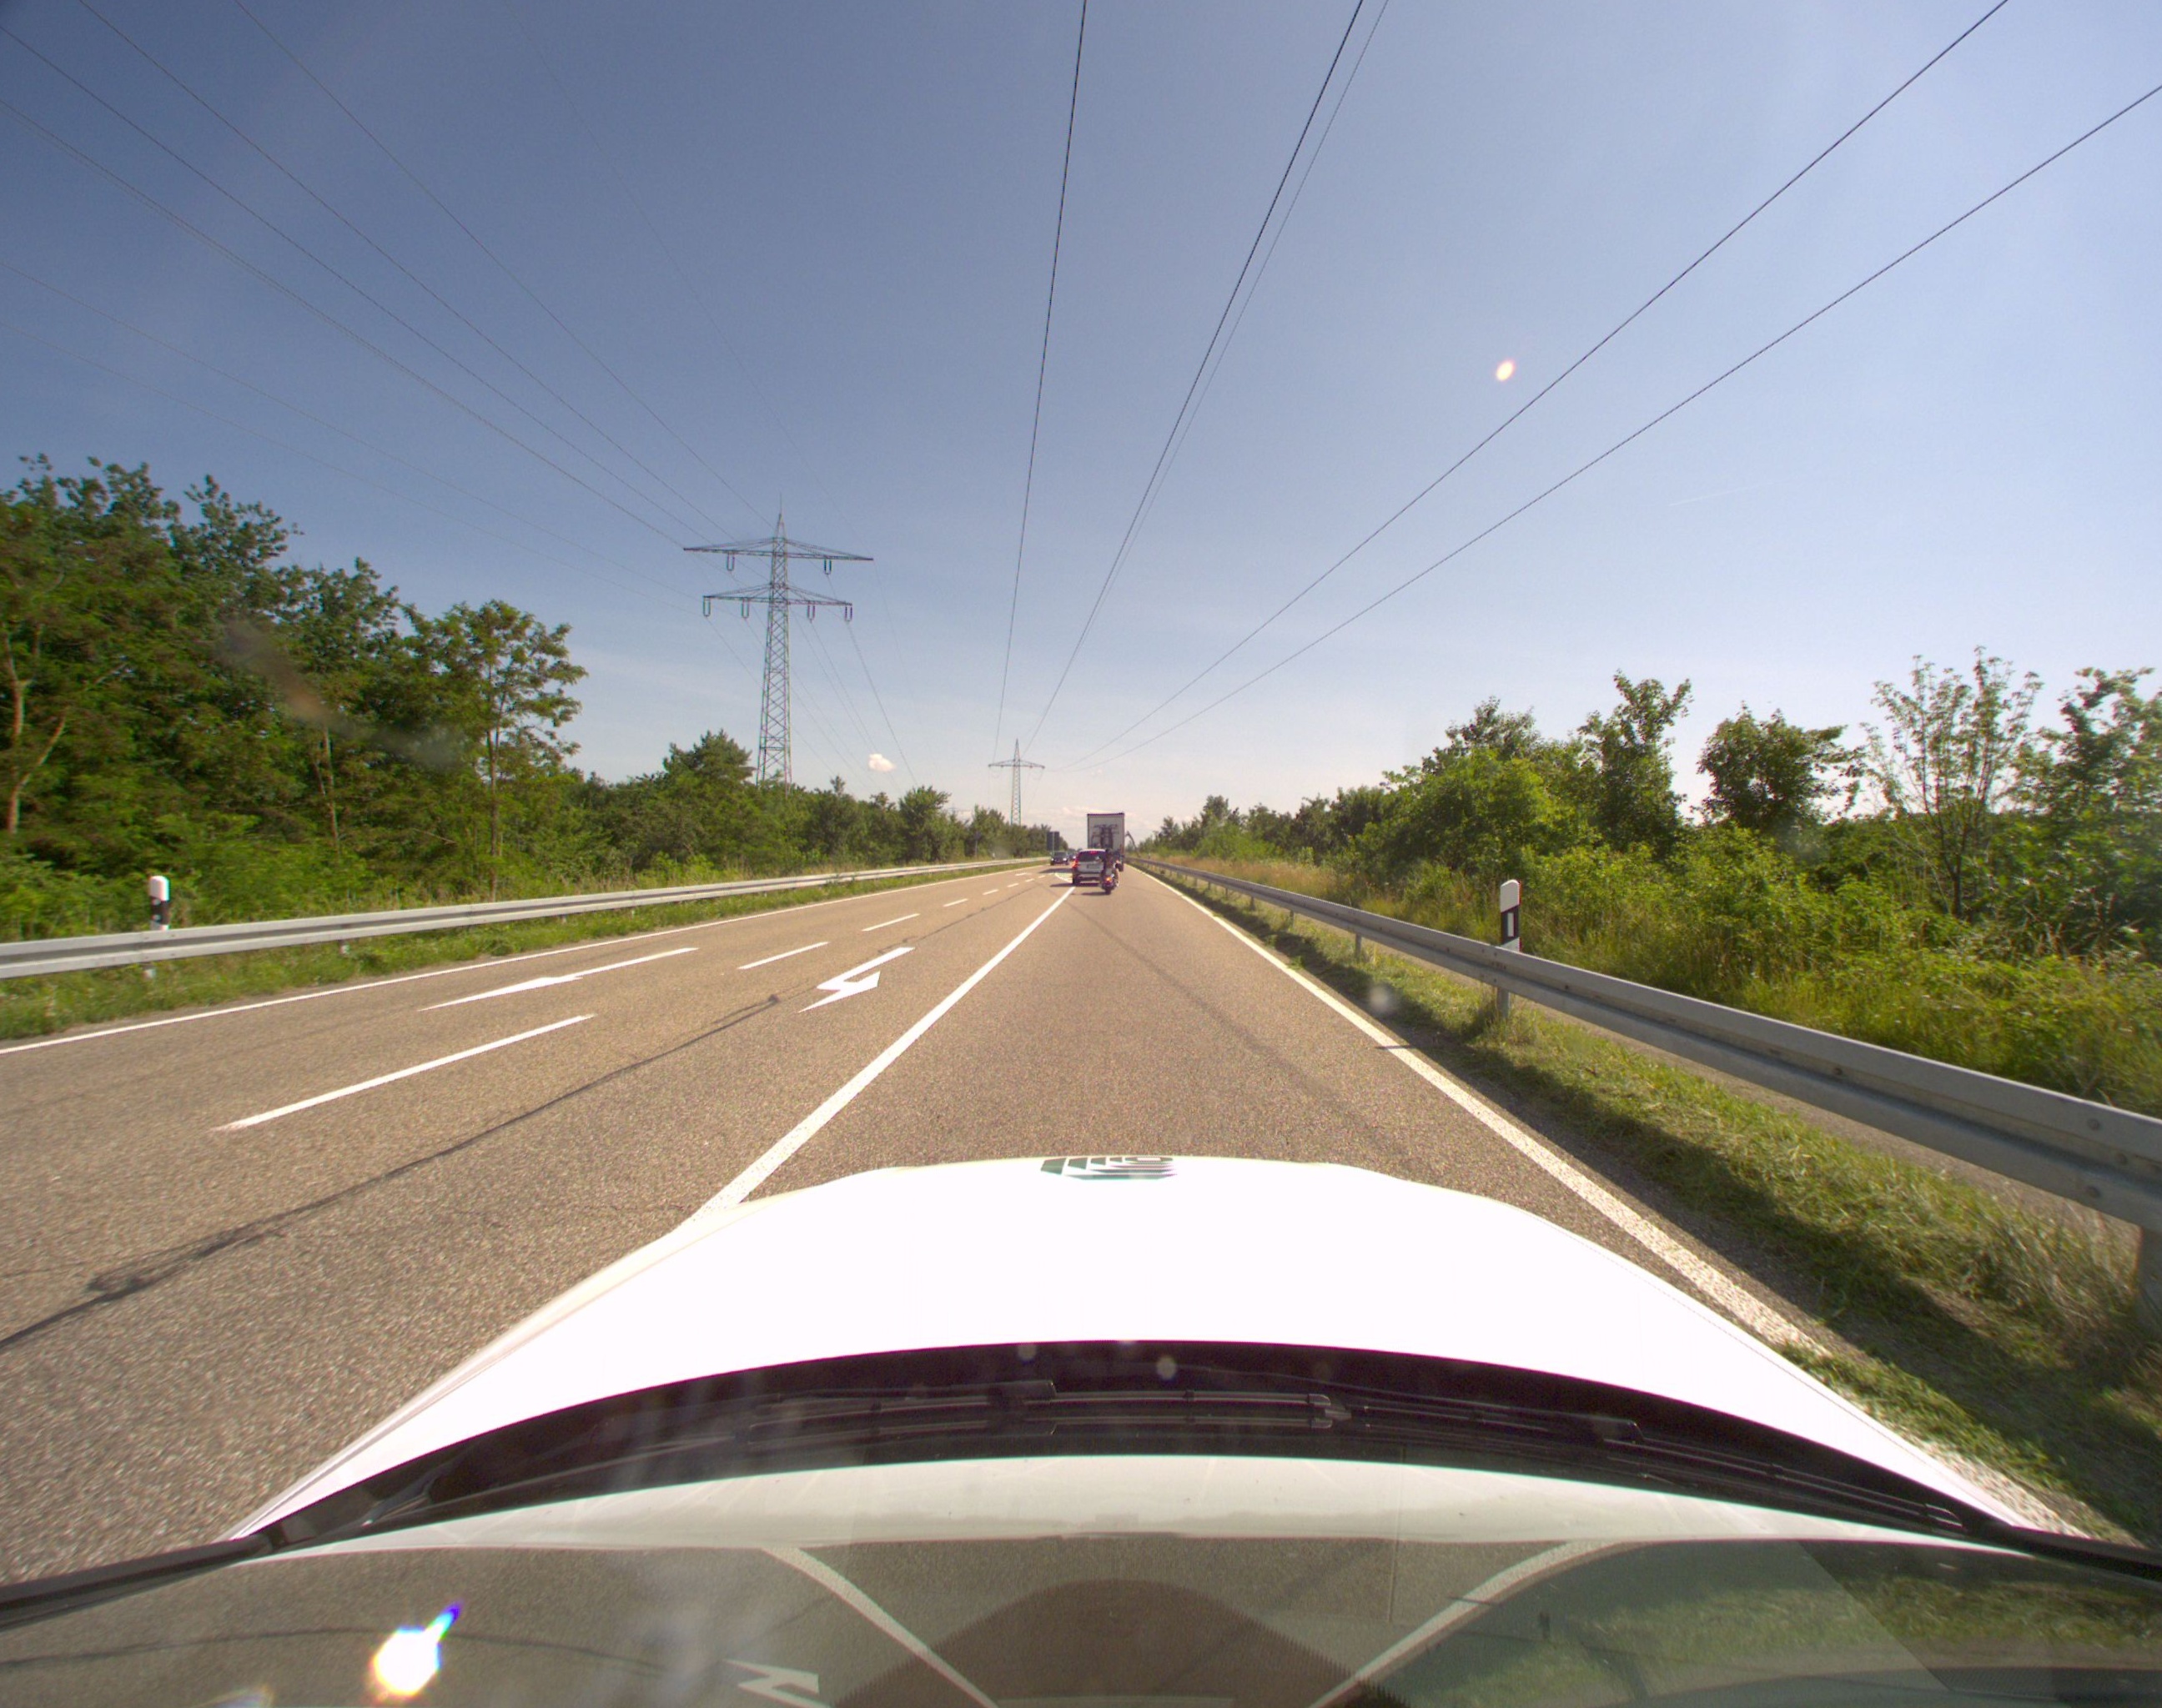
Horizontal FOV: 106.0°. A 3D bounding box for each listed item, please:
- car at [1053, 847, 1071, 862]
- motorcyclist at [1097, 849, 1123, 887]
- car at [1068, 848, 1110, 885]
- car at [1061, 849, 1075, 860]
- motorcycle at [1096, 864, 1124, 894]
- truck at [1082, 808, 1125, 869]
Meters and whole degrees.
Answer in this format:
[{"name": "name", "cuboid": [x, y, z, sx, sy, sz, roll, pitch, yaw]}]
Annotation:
[{"name": "car", "cuboid": [-2.001, 0.060, 86.247, 1.721, 1.491, 4.424, 0, 0, 1]}, {"name": "motorcyclist", "cuboid": [0.982, 0.463, 27.771, 0.834, 1.280, 0.919, 0, 0, -1]}, {"name": "car", "cuboid": [0.362, 0.503, 35.087, 1.695, 1.536, 3.499, 0, 0, 1]}, {"name": "car", "cuboid": [-1.768, 0.046, 113.385, 1.653, 1.442, 4.217, 0, 0, 2]}, {"name": "motorcycle", "cuboid": [0.976, 0.834, 27.718, 0.856, 0.915, 2.227, 0, 0, 0]}, {"name": "truck", "cuboid": [1.898, -1.091, 62.782, 2.955, 4.187, 14.832, 0, 0, 3]}]
